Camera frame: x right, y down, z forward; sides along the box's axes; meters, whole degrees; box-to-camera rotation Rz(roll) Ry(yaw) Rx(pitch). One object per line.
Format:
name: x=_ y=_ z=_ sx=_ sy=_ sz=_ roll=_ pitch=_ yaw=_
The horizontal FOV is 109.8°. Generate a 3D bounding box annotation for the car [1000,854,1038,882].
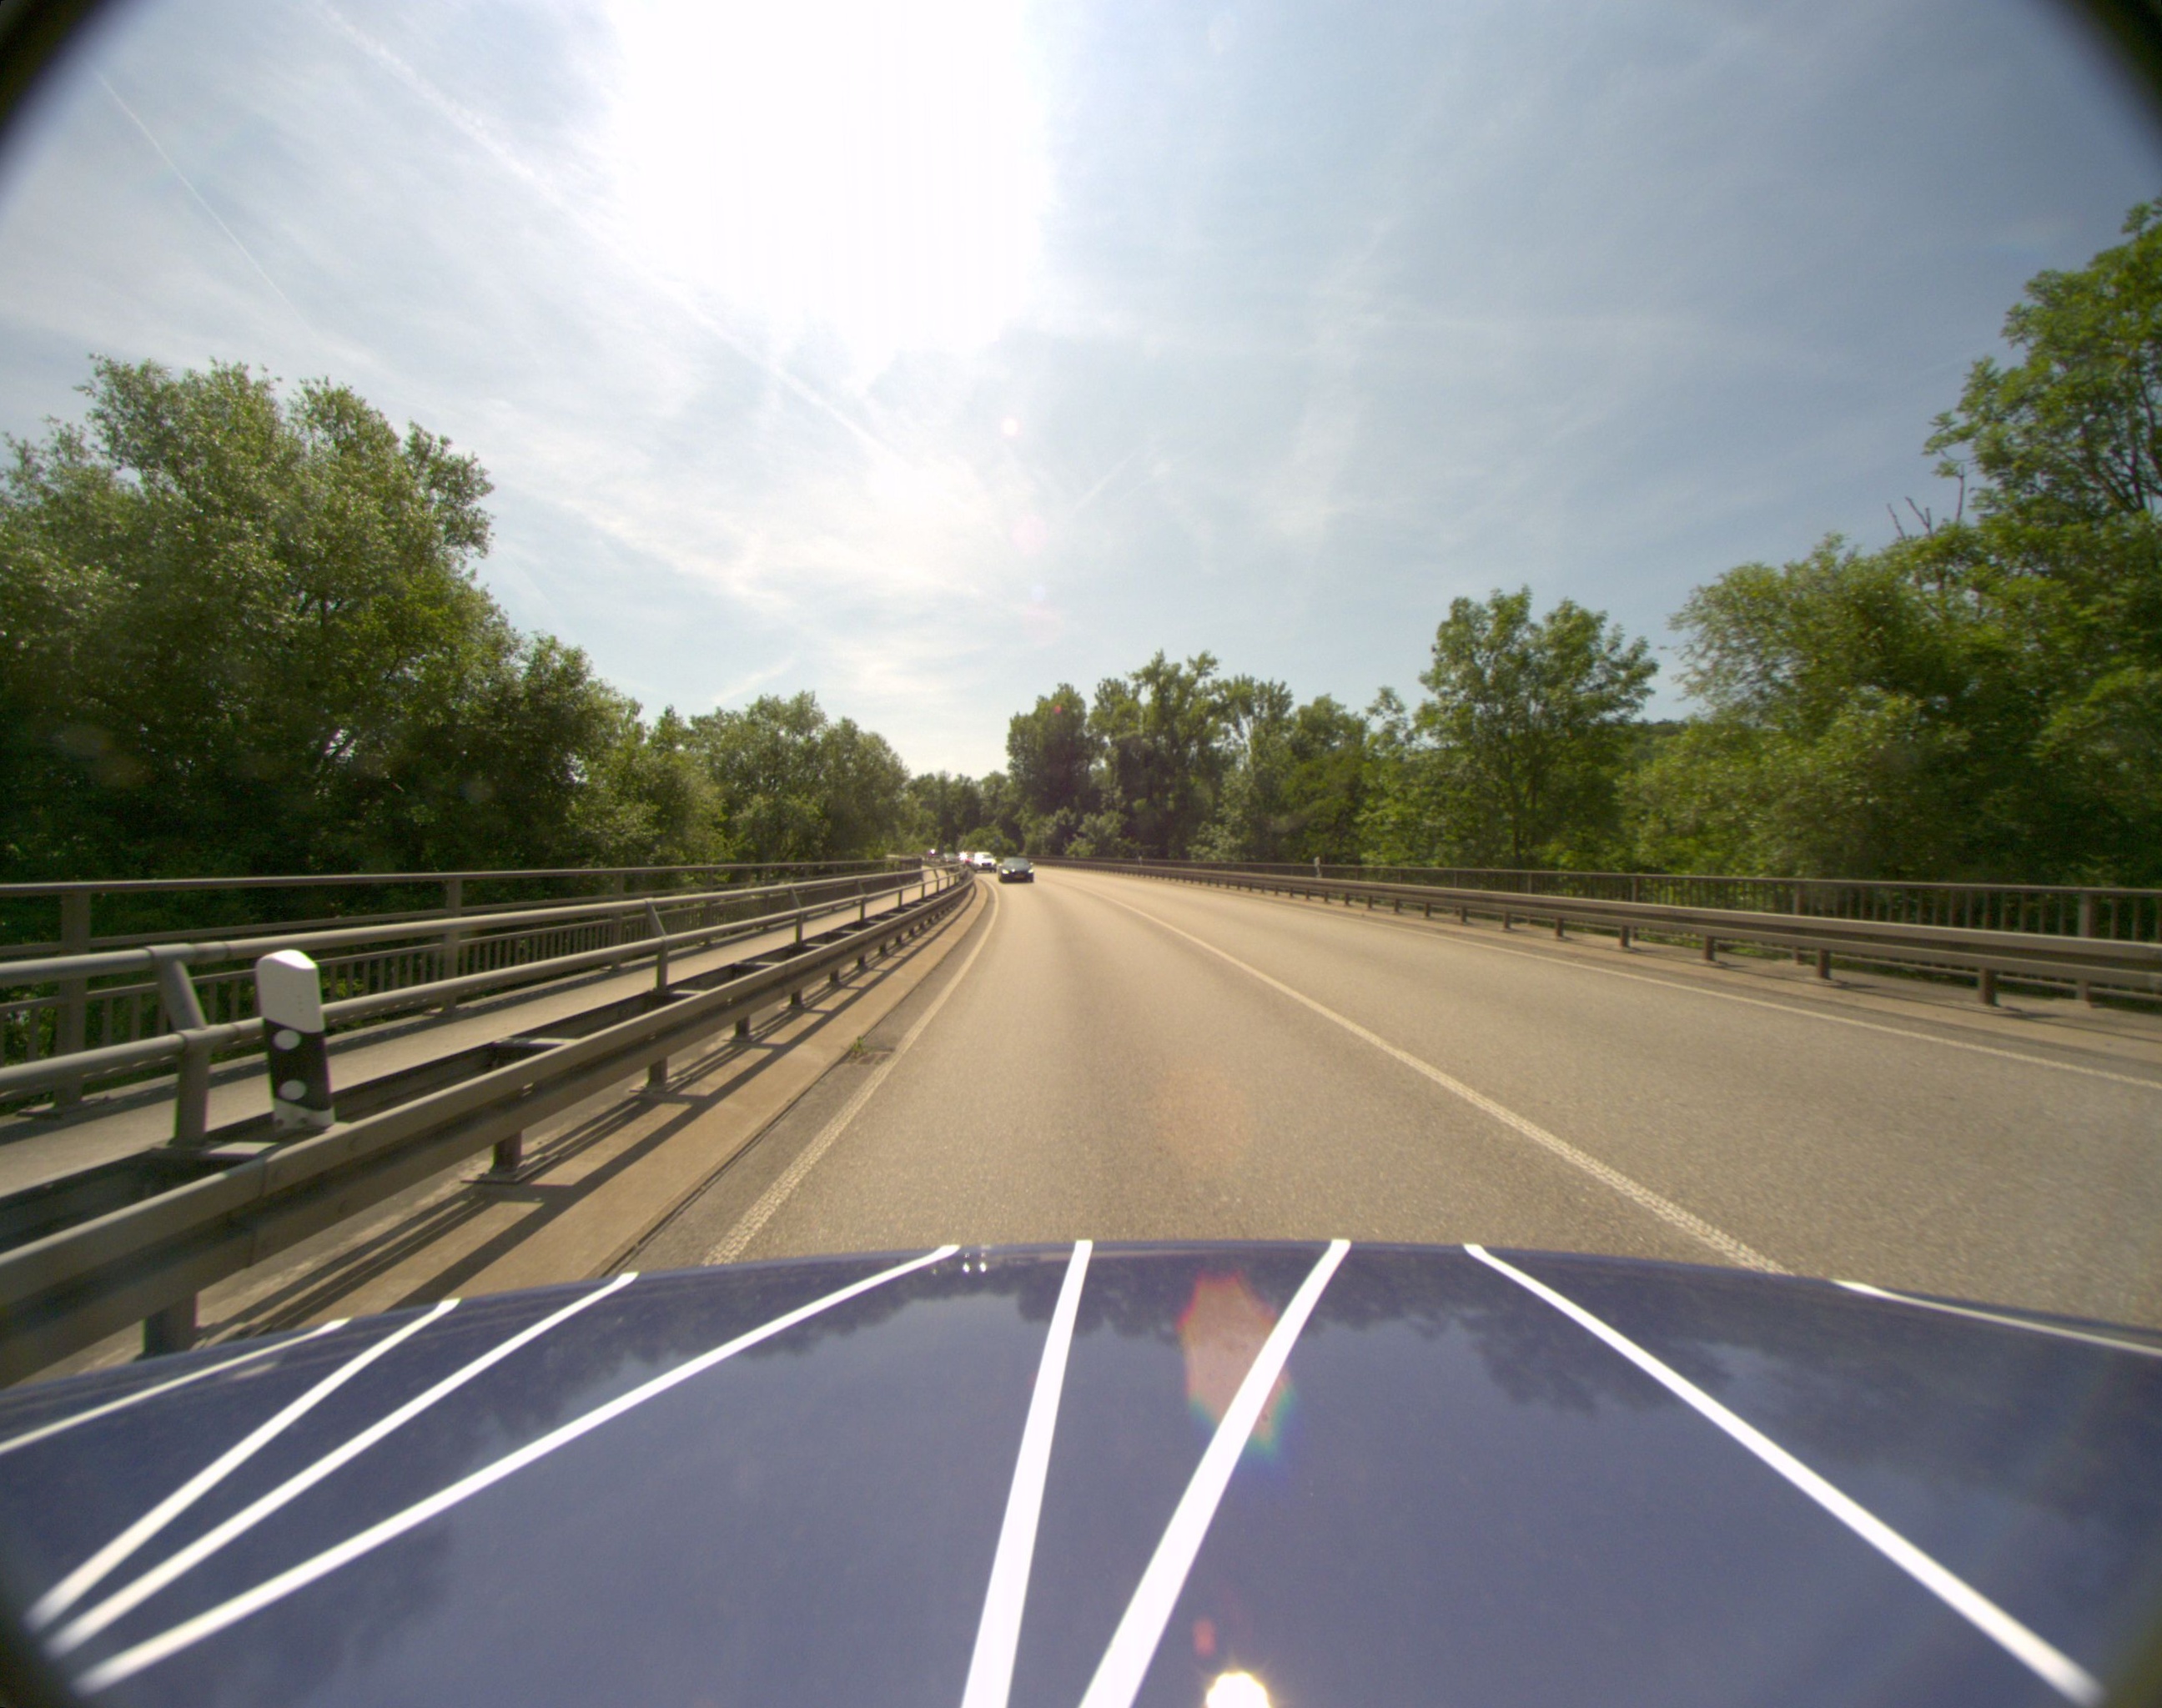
car: x=-3.597 y=0.784 z=43.508 sx=1.910 sy=1.413 sz=3.947 roll=-2 pitch=1 yaw=-8

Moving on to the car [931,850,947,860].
car: x=-21.966 y=0.114 z=117.518 sx=1.826 sy=1.515 sz=3.943 roll=-2 pitch=1 yaw=-21

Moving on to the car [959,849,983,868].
car: x=-10.880 y=0.411 z=75.184 sx=2.001 sy=1.765 sz=3.995 roll=-2 pitch=1 yaw=-12

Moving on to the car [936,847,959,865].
car: x=-15.580 y=0.176 z=88.678 sx=2.001 sy=2.002 sz=3.993 roll=-3 pitch=1 yaw=-18

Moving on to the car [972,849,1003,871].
car: x=-7.827 y=0.478 z=63.345 sx=1.911 sy=1.638 sz=3.944 roll=-2 pitch=1 yaw=-16
